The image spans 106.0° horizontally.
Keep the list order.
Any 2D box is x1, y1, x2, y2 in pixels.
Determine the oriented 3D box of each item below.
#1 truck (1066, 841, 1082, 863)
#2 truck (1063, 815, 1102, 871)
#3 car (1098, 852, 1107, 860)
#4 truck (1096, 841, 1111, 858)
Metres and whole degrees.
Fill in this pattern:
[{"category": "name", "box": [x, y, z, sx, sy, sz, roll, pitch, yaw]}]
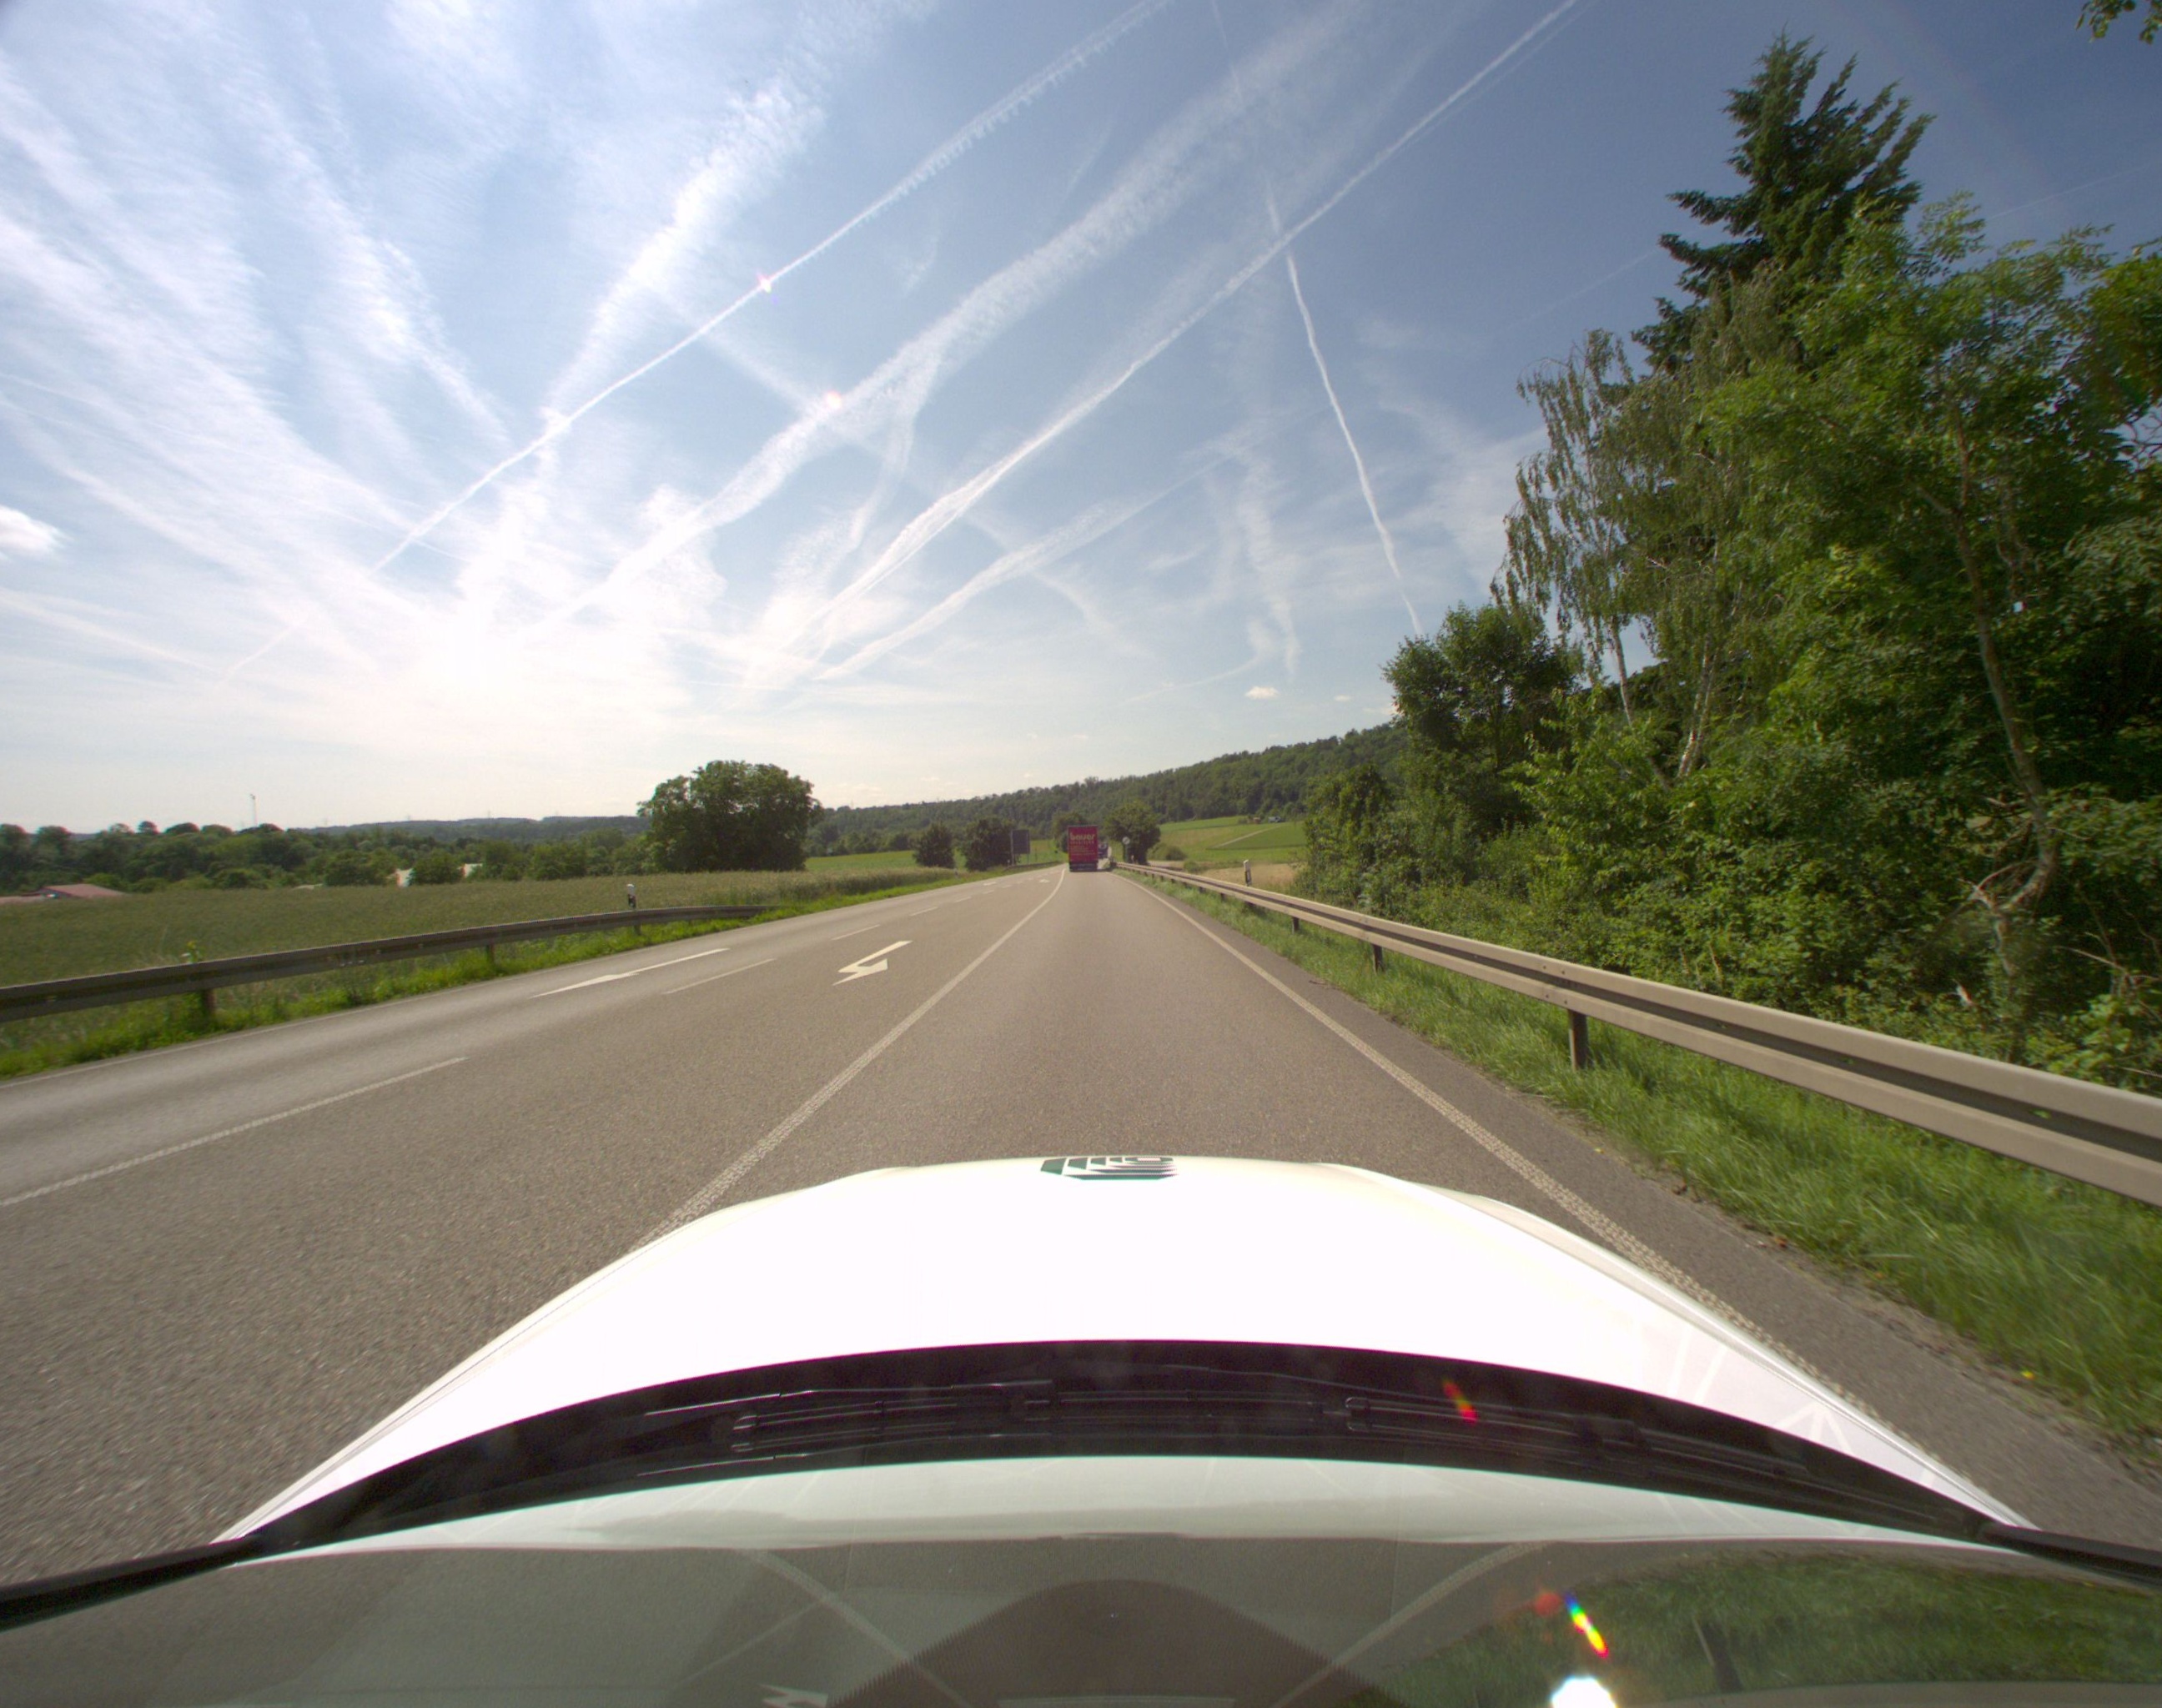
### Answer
[{"category": "truck", "box": [-1.349, -0.350, 154.854, 2.520, 4.119, 6.024, -3, 0, 2]}, {"category": "truck", "box": [0.162, -0.974, 75.593, 3.162, 4.625, 13.543, -2, 0, 0]}, {"category": "car", "box": [4.925, 0.493, 186.650, 1.987, 1.810, 4.000, 1, 0, 1]}, {"category": "truck", "box": [6.047, -1.068, 217.305, 3.891, 4.369, 13.296, 1, 0, 1]}]
